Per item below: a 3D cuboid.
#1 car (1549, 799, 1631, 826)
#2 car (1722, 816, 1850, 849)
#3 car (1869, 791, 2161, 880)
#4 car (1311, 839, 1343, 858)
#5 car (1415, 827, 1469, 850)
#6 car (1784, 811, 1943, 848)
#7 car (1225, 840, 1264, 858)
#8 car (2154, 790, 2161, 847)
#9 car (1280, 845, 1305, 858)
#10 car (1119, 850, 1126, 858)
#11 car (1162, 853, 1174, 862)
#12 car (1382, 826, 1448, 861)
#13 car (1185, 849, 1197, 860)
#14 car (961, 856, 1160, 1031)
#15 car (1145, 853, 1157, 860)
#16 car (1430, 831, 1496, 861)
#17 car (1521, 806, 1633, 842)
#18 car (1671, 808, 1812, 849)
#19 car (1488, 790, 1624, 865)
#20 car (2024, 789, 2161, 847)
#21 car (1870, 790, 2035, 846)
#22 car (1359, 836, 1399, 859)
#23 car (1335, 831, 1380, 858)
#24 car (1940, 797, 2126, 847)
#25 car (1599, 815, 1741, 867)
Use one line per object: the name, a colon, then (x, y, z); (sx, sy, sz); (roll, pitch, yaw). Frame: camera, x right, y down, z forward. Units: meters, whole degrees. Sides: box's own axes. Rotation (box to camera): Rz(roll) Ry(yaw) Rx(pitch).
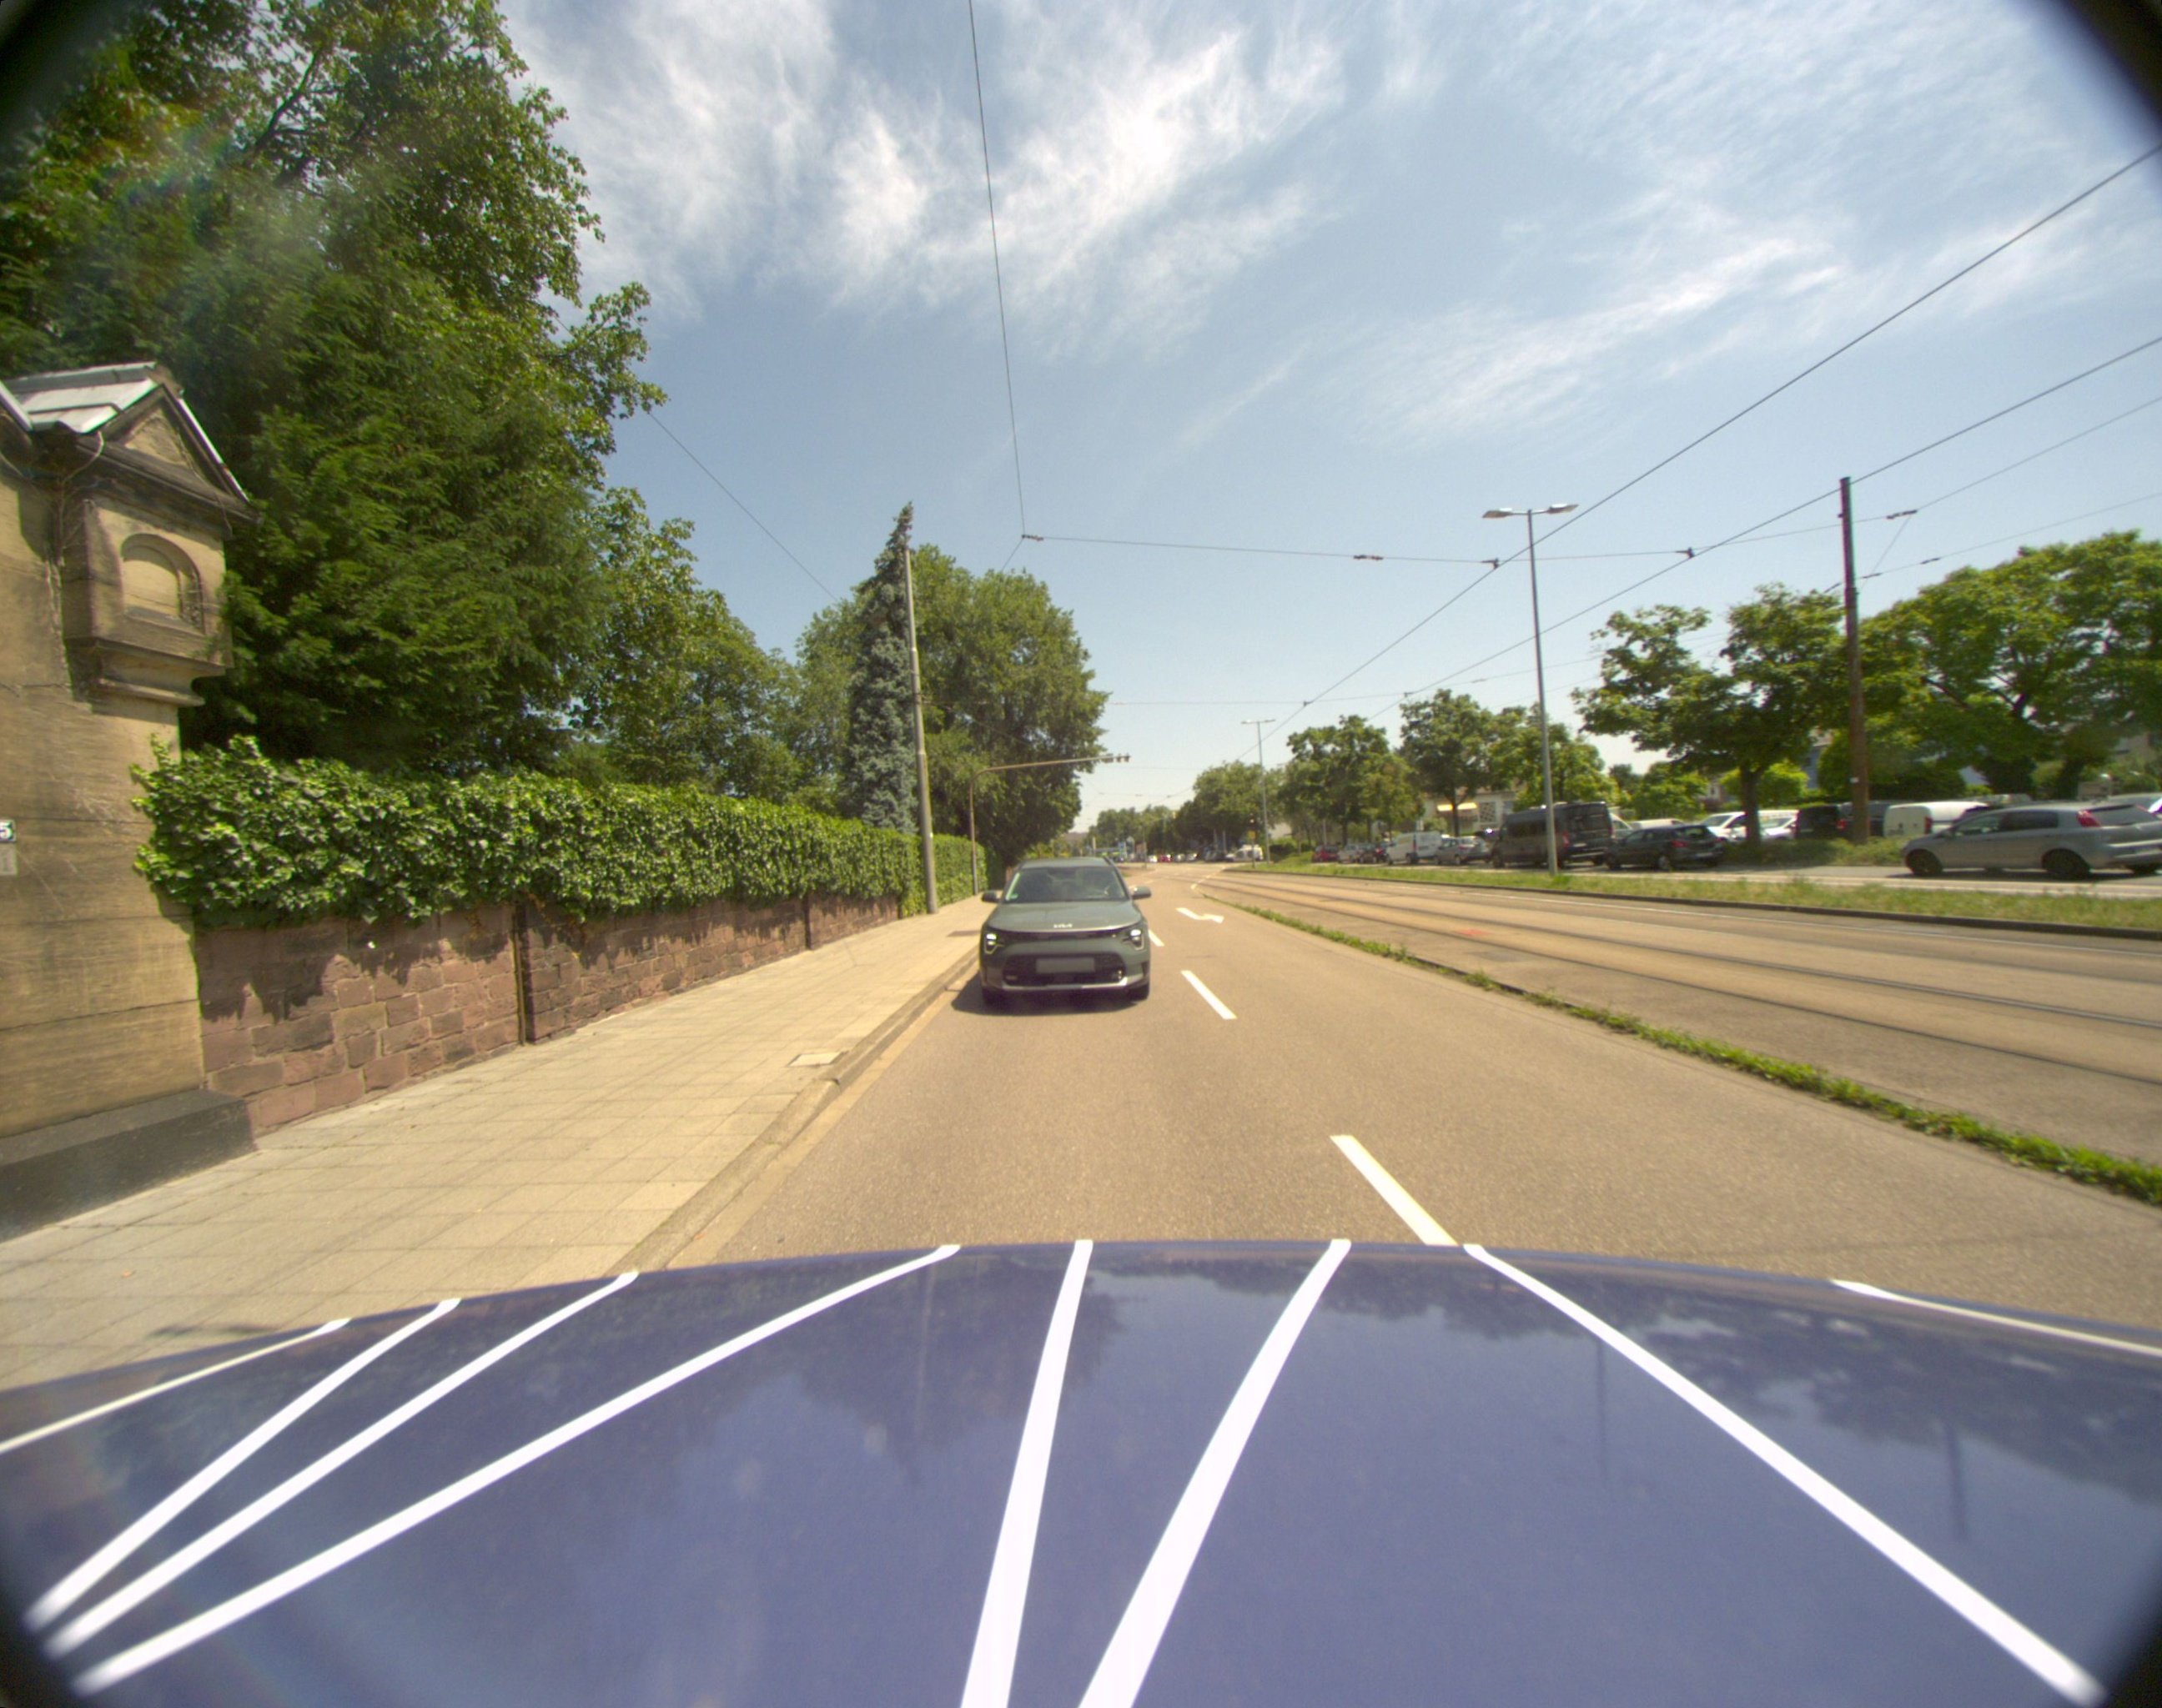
car: (44.633, -3.591, 66.718); (5.744, 2.051, 2.147); (-2, 1, -2)
car: (30.329, -0.925, 32.752); (3.998, 1.137, 1.734); (-3, 0, -3)
car: (19.889, -0.370, 16.285); (1.654, 1.494, 4.125); (-6, 0, 1)
car: (20.304, -0.489, 62.888); (1.582, 1.471, 3.423); (-2, 1, 2)
car: (32.292, -1.374, 68.035); (3.999, 1.863, 1.715); (-2, 1, -6)
car: (30.689, -0.949, 29.880); (4.261, 1.137, 2.032); (-3, 0, -3)
car: (19.215, -0.586, 89.457); (4.204, 1.979, 1.824); (-2, 1, 22)
car: (30.589, -1.062, 19.460); (4.075, 1.481, 1.831); (-3, 0, -7)
car: (20.840, -0.279, 74.968); (1.582, 1.152, 3.423); (-2, 1, 2)
car: (11.642, -0.029, 213.100); (1.780, 1.907, 3.754); (-2, 1, 2)
car: (15.822, 0.606, 138.334); (1.820, 1.471, 3.423); (-2, 1, 2)
car: (20.194, -0.665, 46.143); (1.924, 1.937, 4.817); (-2, 1, 2)
car: (20.222, 0.131, 139.923); (1.703, 1.842, 3.983); (-2, 1, 2)
car: (-0.218, 0.865, 9.440); (1.824, 1.577, 4.287); (-3, 0, -1)
car: (14.261, 0.483, 155.006); (1.781, 1.310, 3.752); (-2, 1, -5)
car: (20.242, -0.428, 40.417); (1.767, 1.456, 3.608); (-2, 1, 2)
car: (30.278, -1.799, 46.470); (5.434, 1.945, 2.029); (-2, 1, 2)
car: (30.897, -1.177, 35.651); (4.926, 1.568, 1.999); (-4, 0, -2)
car: (19.915, -1.073, 32.234); (2.244, 2.821, 5.667); (-2, 1, 1)
car: (30.233, -1.069, 21.952); (3.999, 1.479, 1.866); (-3, 0, -7)
car: (31.318, -1.270, 27.373); (3.998, 1.708, 1.797); (-3, 0, -3)
car: (20.193, -0.466, 51.657); (1.429, 1.470, 3.262); (-2, 1, 0)
car: (20.465, -0.684, 56.413); (1.635, 1.882, 4.496); (-2, 1, 0)
car: (30.880, -1.018, 24.717); (3.998, 1.398, 1.797); (-2, 0, -3)
car: (20.022, -0.433, 26.051); (1.976, 1.568, 3.752); (-2, 1, 1)
